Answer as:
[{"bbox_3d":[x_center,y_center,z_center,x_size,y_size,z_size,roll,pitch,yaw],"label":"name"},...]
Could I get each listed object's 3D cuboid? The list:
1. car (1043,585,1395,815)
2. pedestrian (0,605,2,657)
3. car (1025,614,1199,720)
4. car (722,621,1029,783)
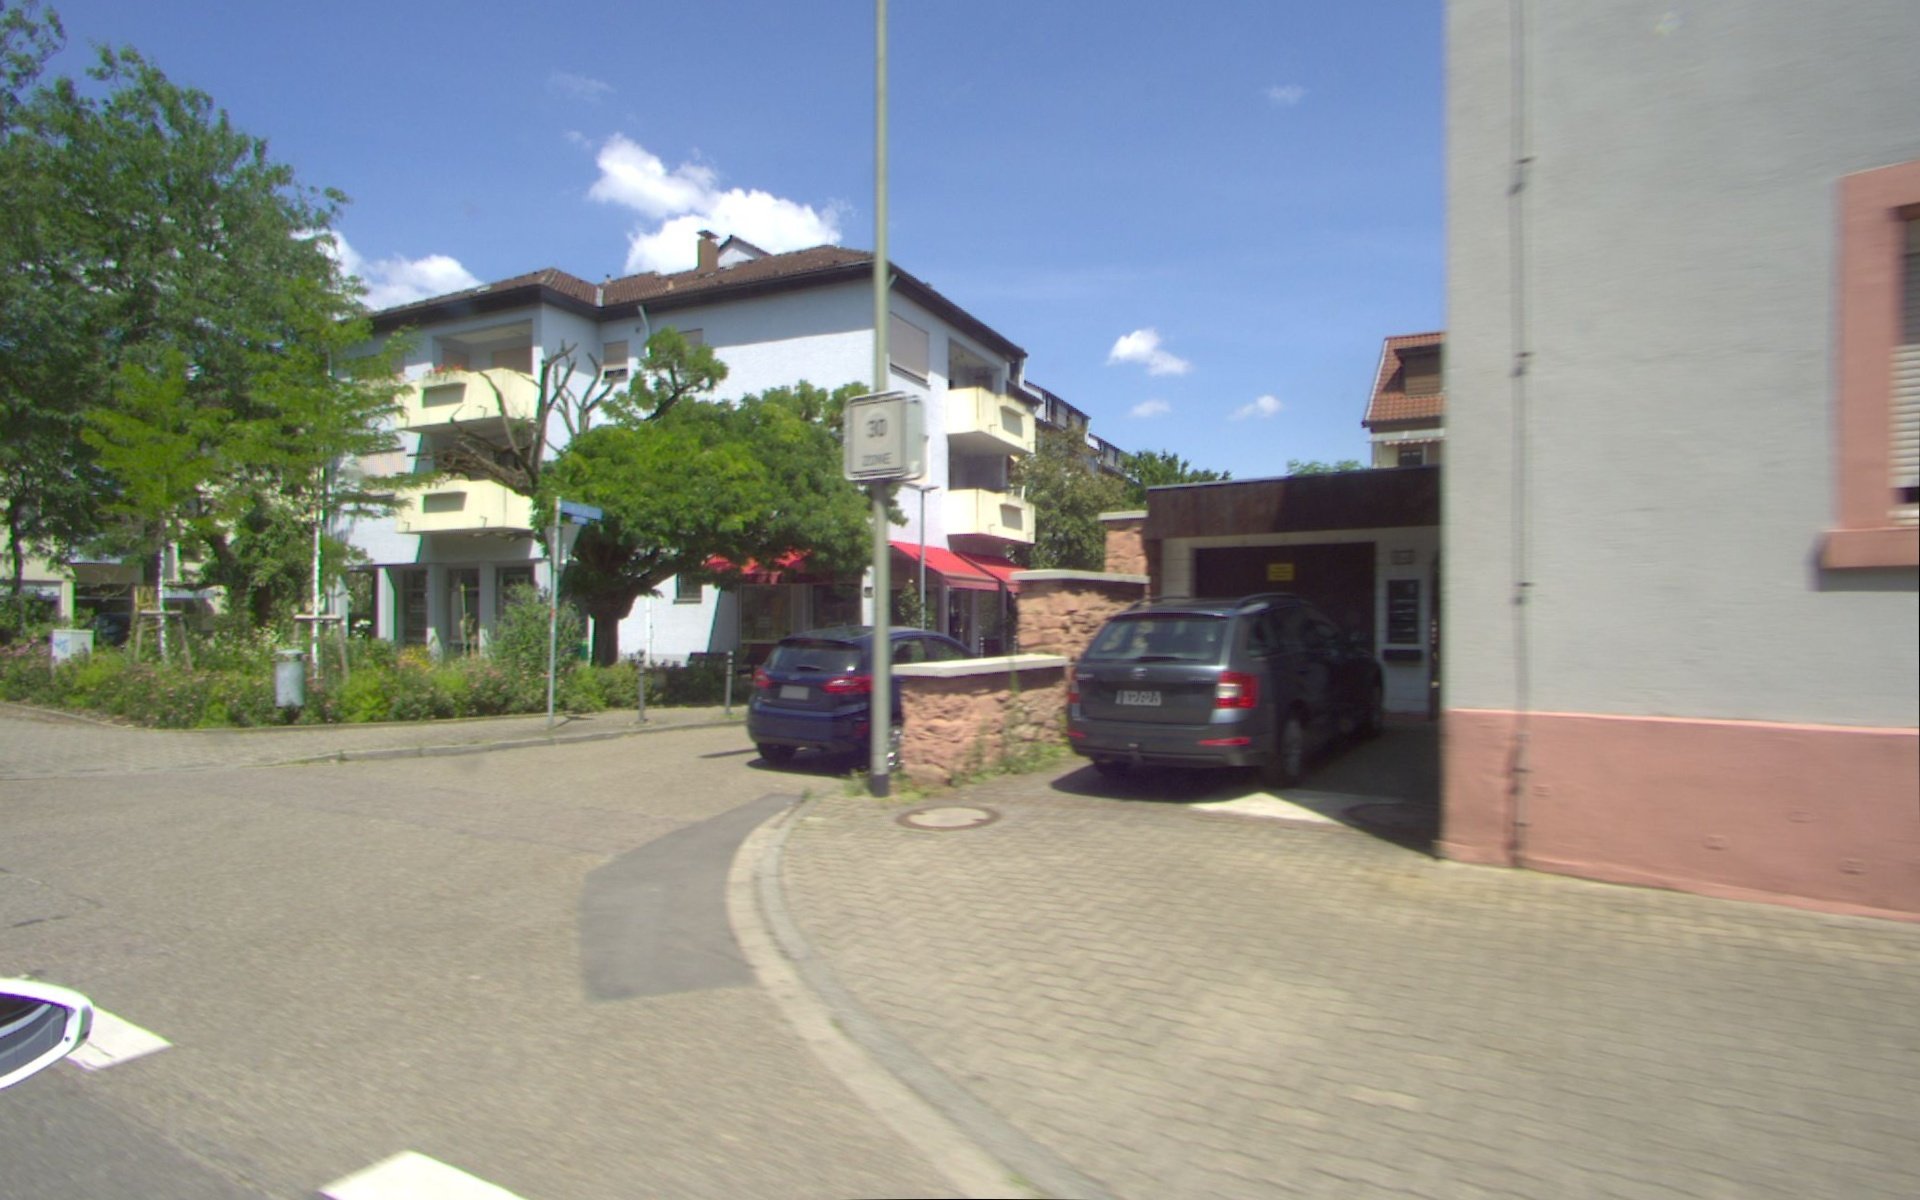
[{"bbox_3d":[2.567,0.685,9.040,1.718,1.550,4.256,-2,0,34],"label":"car"},{"bbox_3d":[-34.780,1.117,35.804,0.587,1.883,0.602,0,0,-22],"label":"pedestrian"},{"bbox_3d":[2.703,1.087,17.153,1.715,1.550,3.595,2,-1,30],"label":"car"},{"bbox_3d":[-0.795,1.032,11.423,1.715,1.467,3.595,2,-1,30],"label":"car"}]
